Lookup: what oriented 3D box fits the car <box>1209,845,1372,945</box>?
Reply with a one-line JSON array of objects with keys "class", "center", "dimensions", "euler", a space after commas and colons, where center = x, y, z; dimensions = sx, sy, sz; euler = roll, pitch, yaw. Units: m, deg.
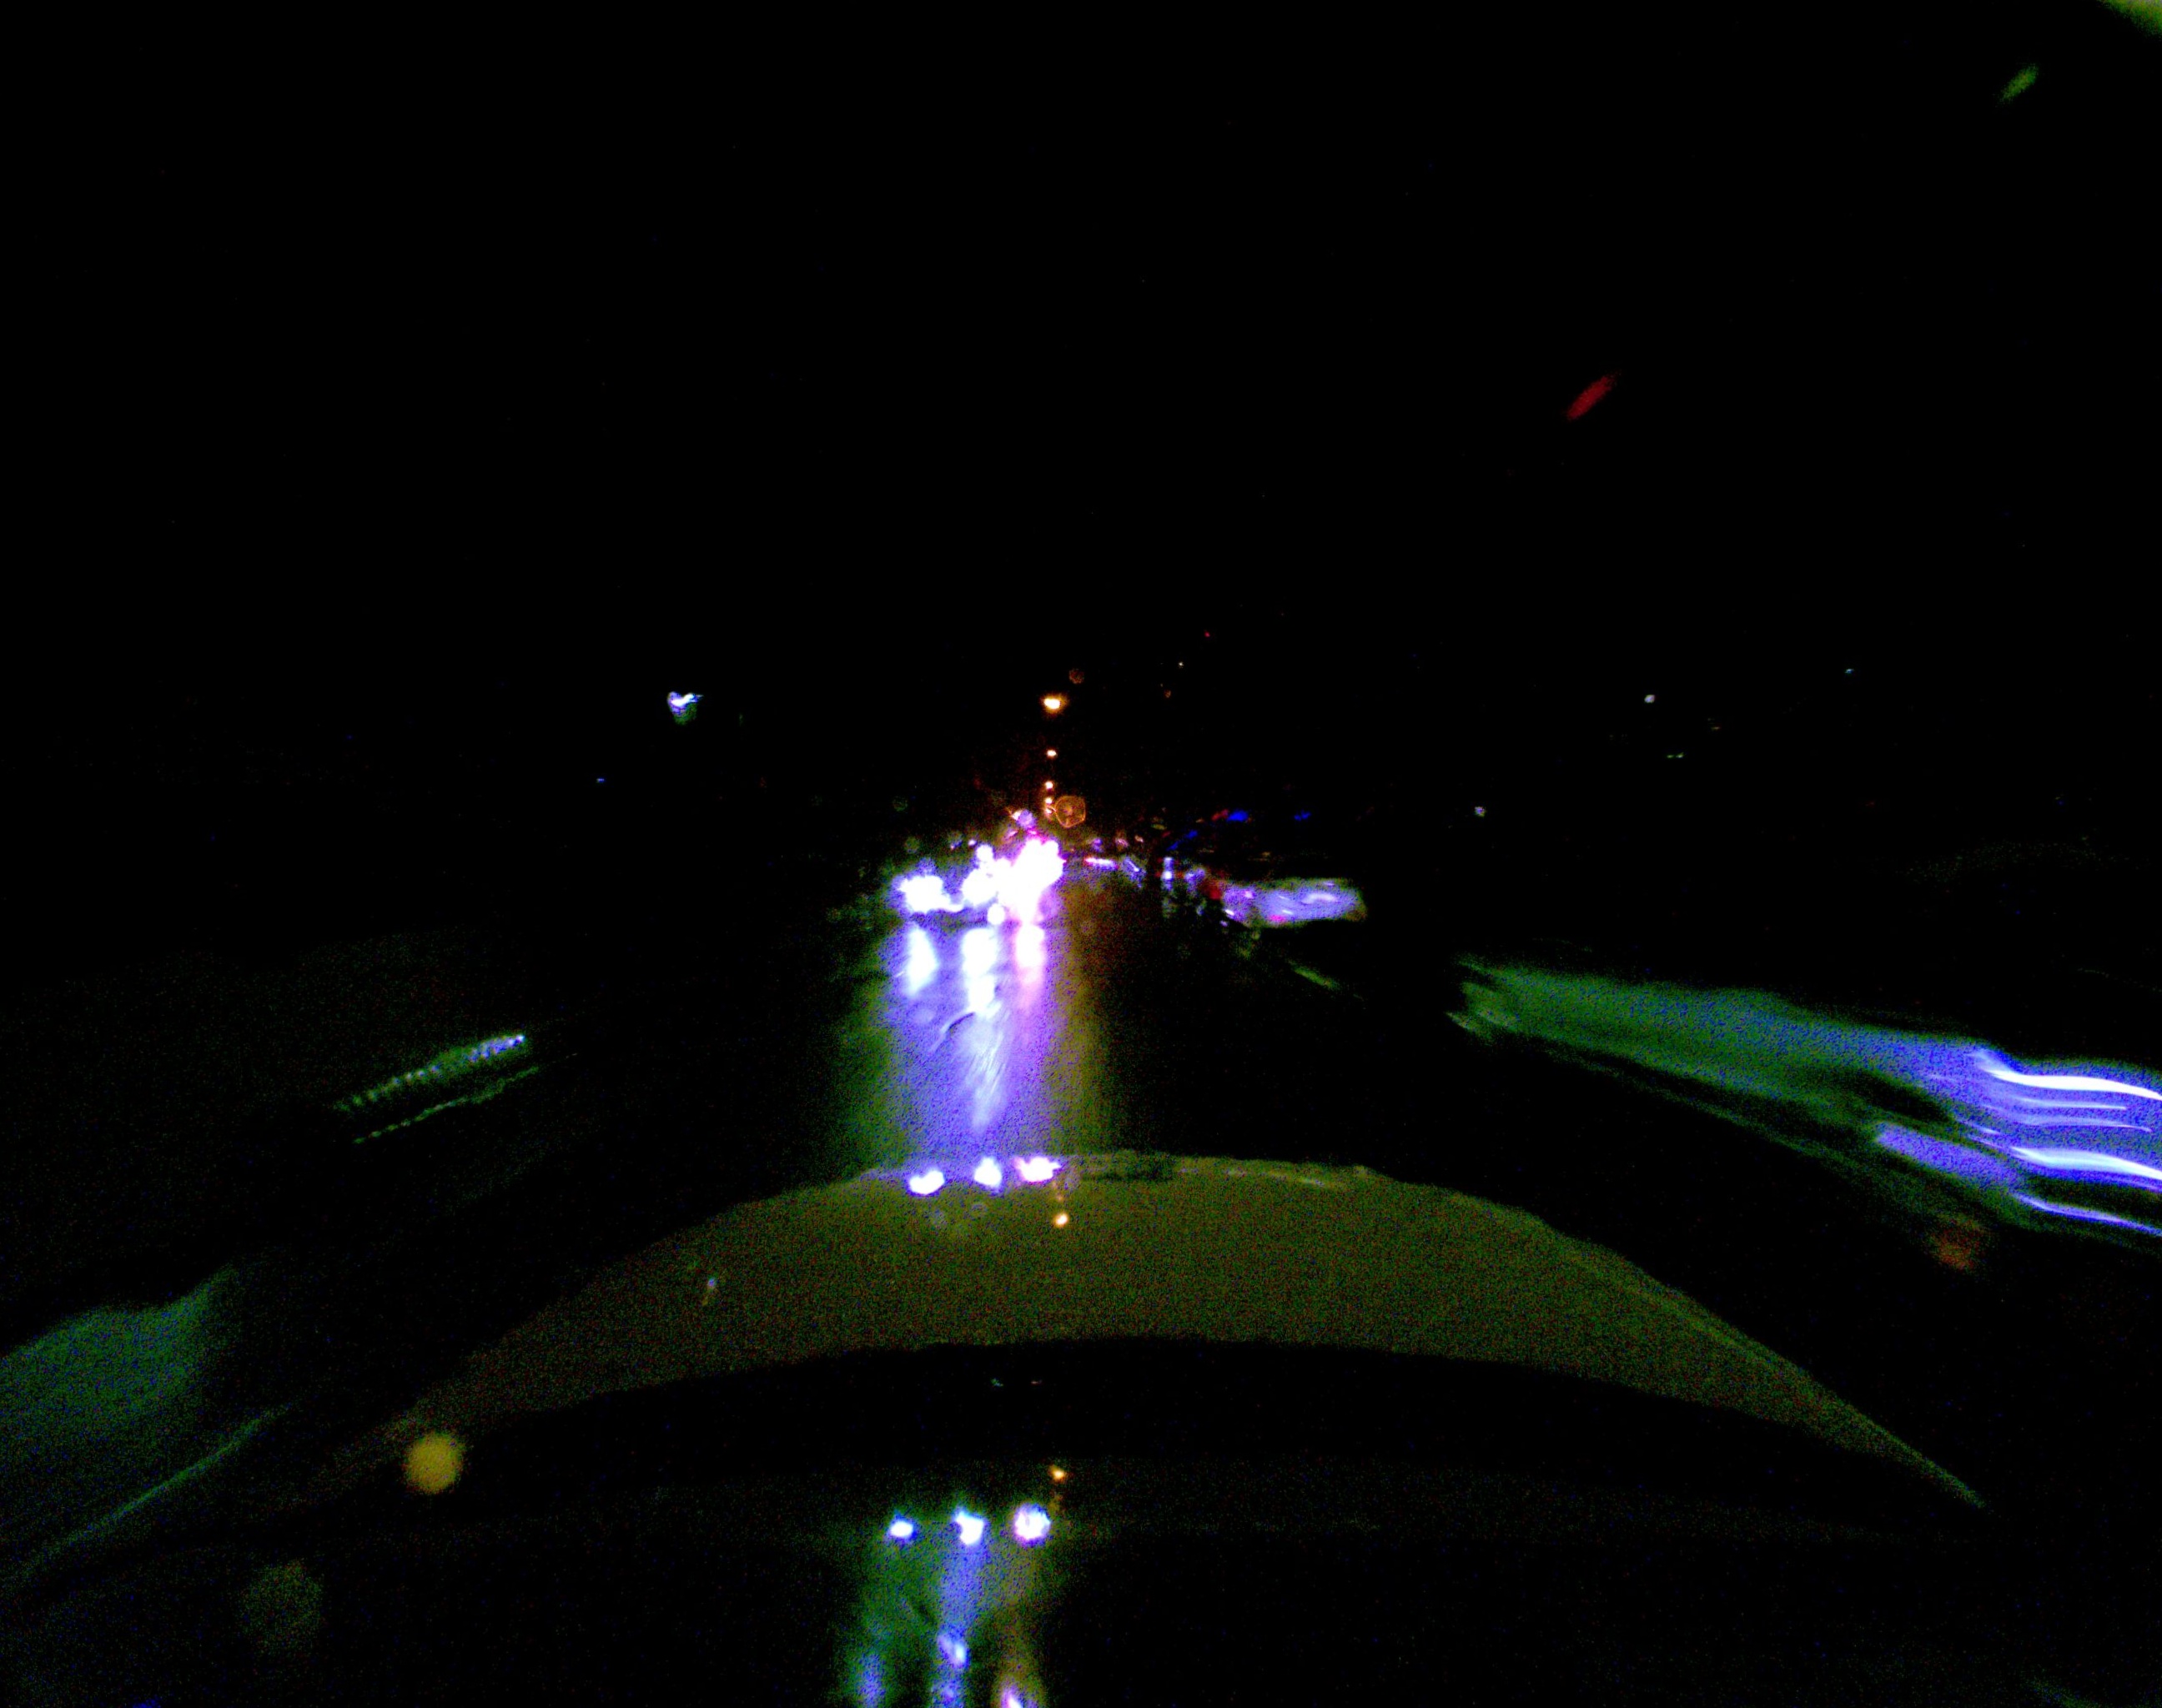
[{"class": "car", "center": [3.677, 0.656, 15.123], "dimensions": [1.708, 1.489, 4.433], "euler": [-3, 0, -2]}]

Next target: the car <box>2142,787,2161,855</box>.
[{"class": "car", "center": [23.117, -0.706, 14.995], "dimensions": [1.672, 1.413, 4.263], "euler": [-2, 0, 2]}]

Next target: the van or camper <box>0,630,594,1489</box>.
[{"class": "van or camper", "center": [-3.600, 0.527, 1.833], "dimensions": [1.863, 2.103, 4.944], "euler": [-2, 0, 1]}]

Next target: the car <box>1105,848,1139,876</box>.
[{"class": "car", "center": [2.381, 0.415, 48.362], "dimensions": [1.624, 1.466, 4.508], "euler": [-4, 1, -1]}]

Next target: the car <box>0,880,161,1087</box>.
[{"class": "car", "center": [-11.010, 1.083, 7.074], "dimensions": [4.656, 1.619, 2.008], "euler": [0, 1, 13]}]

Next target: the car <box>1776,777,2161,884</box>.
[{"class": "car", "center": [15.614, -0.380, 14.794], "dimensions": [1.823, 1.547, 4.867], "euler": [-2, 0, 1]}]

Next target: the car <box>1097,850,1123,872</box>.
[{"class": "car", "center": [2.056, 0.461, 58.212], "dimensions": [1.492, 1.388, 3.744], "euler": [-4, 1, -2]}]

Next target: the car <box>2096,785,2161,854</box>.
[{"class": "car", "center": [26.913, -0.880, 19.276], "dimensions": [3.977, 1.576, 1.564], "euler": [-2, 0, -3]}]

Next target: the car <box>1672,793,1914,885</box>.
[{"class": "car", "center": [13.077, -0.268, 15.250], "dimensions": [1.557, 1.469, 3.408], "euler": [-2, 0, 1]}]

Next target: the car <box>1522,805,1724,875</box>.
[{"class": "car", "center": [14.328, -0.369, 21.680], "dimensions": [4.206, 1.617, 1.805], "euler": [-2, 0, -2]}]

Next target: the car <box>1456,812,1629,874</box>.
[{"class": "car", "center": [13.679, -0.331, 24.291], "dimensions": [4.207, 1.617, 1.684], "euler": [-2, 0, -2]}]

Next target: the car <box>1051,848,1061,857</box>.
[{"class": "car", "center": [-4.790, -0.289, 153.777], "dimensions": [1.808, 1.709, 3.800], "euler": [-4, 1, -2]}]

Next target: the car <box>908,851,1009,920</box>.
[{"class": "car", "center": [-2.816, 0.670, 19.665], "dimensions": [1.791, 1.461, 4.576], "euler": [0, 0, -1]}]

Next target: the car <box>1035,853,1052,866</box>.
[{"class": "car", "center": [-4.264, 0.603, 92.359], "dimensions": [1.816, 1.463, 4.860], "euler": [-1, 0, -3]}]

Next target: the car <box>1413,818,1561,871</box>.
[{"class": "car", "center": [13.214, -0.305, 26.646], "dimensions": [3.977, 1.521, 1.684], "euler": [-2, 0, -2]}]

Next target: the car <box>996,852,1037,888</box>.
[{"class": "car", "center": [-2.732, 0.655, 35.104], "dimensions": [1.543, 1.499, 2.792], "euler": [-1, 0, -1]}]

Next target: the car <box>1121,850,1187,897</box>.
[{"class": "car", "center": [2.818, 0.701, 32.275], "dimensions": [1.877, 1.572, 4.523], "euler": [-4, 1, -3]}]

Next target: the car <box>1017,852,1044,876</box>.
[{"class": "car", "center": [-3.448, 0.681, 55.895], "dimensions": [1.672, 1.434, 4.505], "euler": [-4, -1, -4]}]

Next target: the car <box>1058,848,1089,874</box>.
[{"class": "car", "center": [-0.496, 0.475, 55.632], "dimensions": [1.988, 1.684, 3.998], "euler": [-1, 0, -1]}]

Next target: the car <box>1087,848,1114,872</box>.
[{"class": "car", "center": [1.496, 0.437, 64.468], "dimensions": [1.816, 1.673, 3.996], "euler": [-4, 1, -2]}]

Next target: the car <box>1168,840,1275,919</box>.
[{"class": "car", "center": [3.471, 0.557, 20.901], "dimensions": [1.709, 1.707, 4.182], "euler": [-4, 1, -3]}]

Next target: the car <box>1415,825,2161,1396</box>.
[{"class": "car", "center": [3.680, 0.658, 4.160], "dimensions": [1.785, 1.449, 4.787], "euler": [-4, 0, -2]}]

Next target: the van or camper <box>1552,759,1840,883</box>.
[{"class": "van or camper", "center": [14.231, -0.737, 19.122], "dimensions": [5.043, 2.527, 2.172], "euler": [-2, 0, 1]}]

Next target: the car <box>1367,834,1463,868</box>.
[{"class": "car", "center": [15.207, -0.146, 37.165], "dimensions": [3.675, 1.400, 1.620], "euler": [-2, 0, -1]}]

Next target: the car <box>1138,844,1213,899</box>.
[{"class": "car", "center": [3.029, 0.516, 26.956], "dimensions": [1.750, 1.528, 4.150], "euler": [-4, 1, -2]}]
